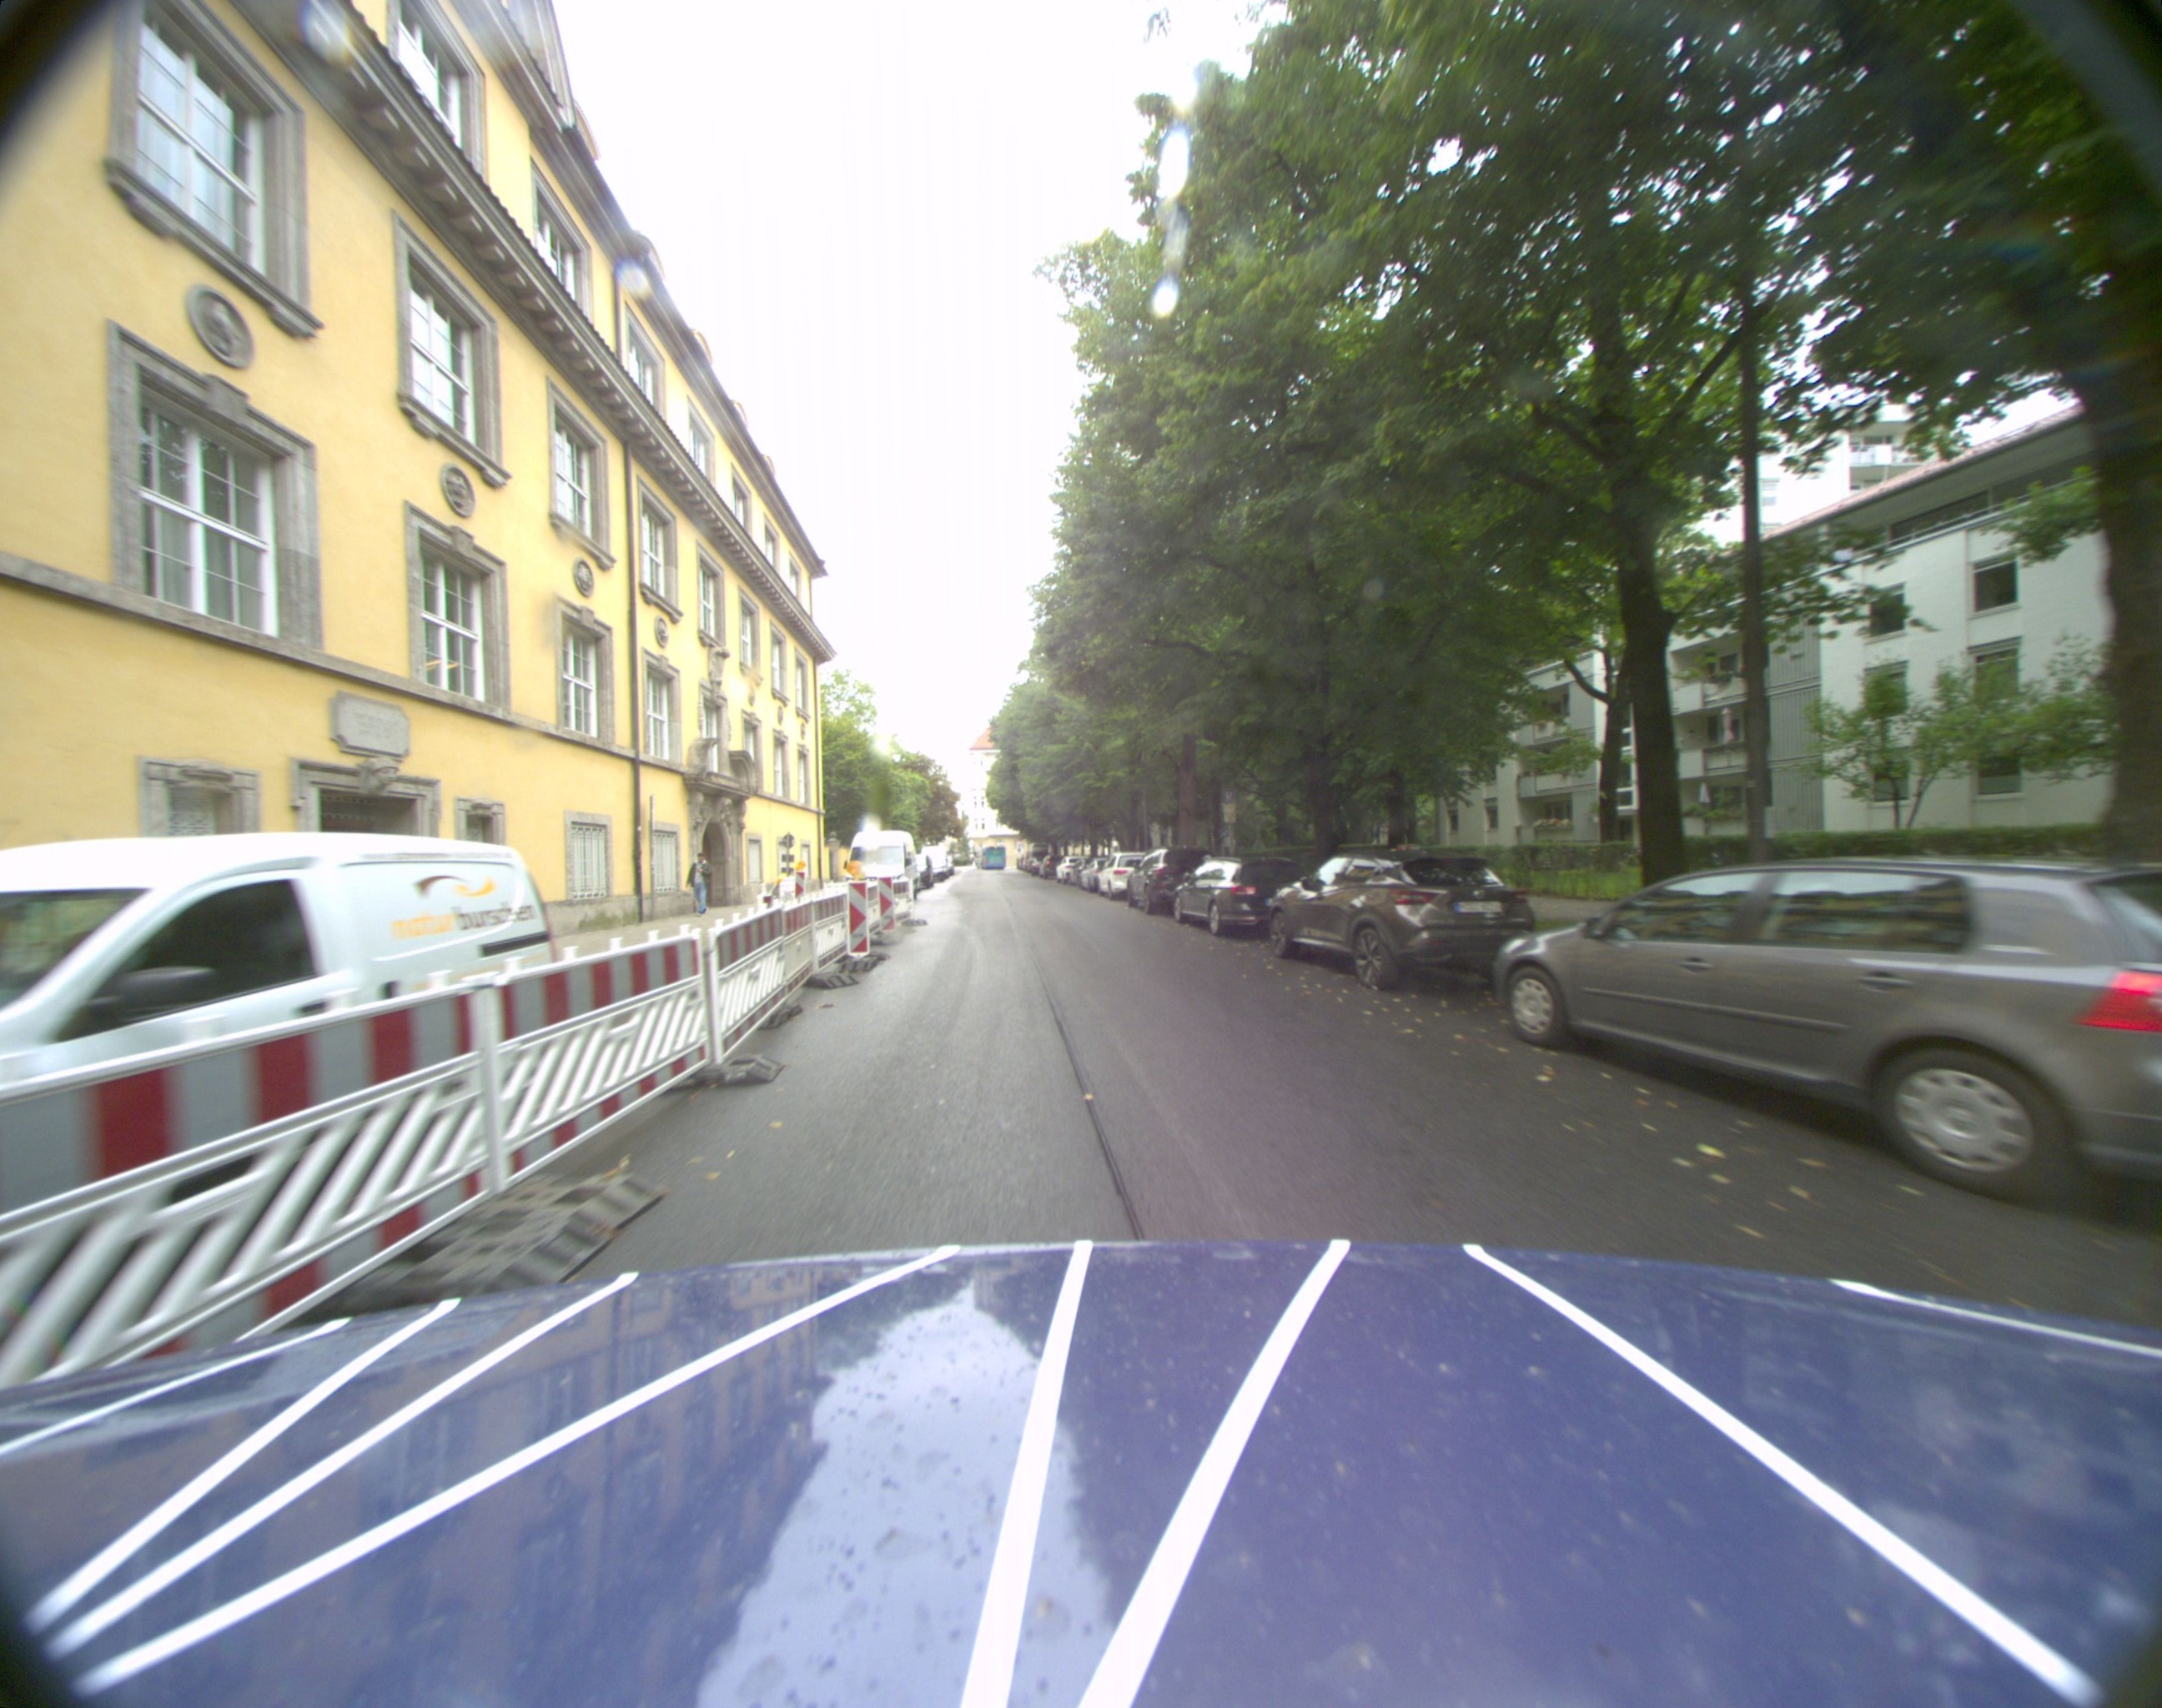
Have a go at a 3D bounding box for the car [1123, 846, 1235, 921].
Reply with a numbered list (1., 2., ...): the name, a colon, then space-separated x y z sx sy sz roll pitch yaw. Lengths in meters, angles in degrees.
1. car: 2.534 0.696 20.921 1.999 1.786 4.917 0 0 -6

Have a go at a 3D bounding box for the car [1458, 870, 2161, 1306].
1. car: 4.432 0.871 4.639 1.733 1.414 4.248 -2 0 -7

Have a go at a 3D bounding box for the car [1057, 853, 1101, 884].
1. car: -0.170 0.756 43.132 1.790 1.588 4.580 -2 1 -9

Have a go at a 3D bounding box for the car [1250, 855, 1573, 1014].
1. car: 3.835 0.796 9.842 1.792 1.565 4.483 0 0 -7

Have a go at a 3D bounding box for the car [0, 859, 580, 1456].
1. car: -4.347 0.969 3.390 1.745 1.740 4.352 -2 1 -8

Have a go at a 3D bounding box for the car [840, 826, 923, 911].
1. car: -7.166 0.437 28.051 2.061 2.657 7.607 -2 1 -9

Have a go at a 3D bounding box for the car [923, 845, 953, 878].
1. car: -11.352 0.544 60.619 2.102 2.473 5.734 -2 1 -8

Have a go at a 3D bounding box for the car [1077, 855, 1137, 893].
1. car: 1.054 0.808 33.312 1.815 1.461 4.993 -2 1 -7

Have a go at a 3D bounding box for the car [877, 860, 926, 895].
1. car: -8.416 1.060 35.967 1.877 1.449 4.251 -2 1 -9

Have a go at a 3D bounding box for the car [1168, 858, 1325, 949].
1. car: 3.129 0.855 15.414 1.724 1.442 4.692 -2 1 -6

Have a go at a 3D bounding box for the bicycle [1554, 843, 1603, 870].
1. bicycle: 21.977 0.112 33.600 0.642 1.101 1.901 -3 0 -11

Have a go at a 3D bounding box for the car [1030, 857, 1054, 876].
1. car: -3.225 1.016 62.164 1.795 1.429 4.549 -1 0 -4

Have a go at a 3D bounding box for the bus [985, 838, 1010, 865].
1. bus: -11.550 -0.466 103.771 2.868 3.221 18.409 -2 1 -8

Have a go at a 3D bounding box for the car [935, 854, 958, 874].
1. car: -12.489 0.884 70.716 1.864 1.731 4.599 -3 1 -8

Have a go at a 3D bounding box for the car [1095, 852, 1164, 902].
1. car: 1.658 0.748 27.454 1.770 1.612 4.520 1 1 -5

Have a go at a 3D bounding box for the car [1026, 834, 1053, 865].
1. car: -4.087 -0.447 74.544 1.951 2.838 6.230 -2 1 -9

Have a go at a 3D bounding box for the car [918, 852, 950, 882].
1. car: -10.260 0.881 53.152 2.020 1.895 5.159 -3 1 -10

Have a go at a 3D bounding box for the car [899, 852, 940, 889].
1. car: -8.838 0.850 41.899 1.877 1.858 4.982 -2 1 -9

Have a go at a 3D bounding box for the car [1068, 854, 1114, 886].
1. car: 0.439 0.773 38.592 1.677 1.461 4.100 -2 1 -9

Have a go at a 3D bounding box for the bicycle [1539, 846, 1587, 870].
1. bicycle: 21.291 0.178 33.602 0.642 1.031 1.901 -3 0 -11

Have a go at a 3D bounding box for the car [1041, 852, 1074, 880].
1. car: -1.670 0.813 52.980 1.790 1.866 4.544 0 0 -9

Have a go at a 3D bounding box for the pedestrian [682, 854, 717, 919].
1. pedestrian: -10.628 0.889 21.188 0.702 1.794 0.582 0 2 -7
